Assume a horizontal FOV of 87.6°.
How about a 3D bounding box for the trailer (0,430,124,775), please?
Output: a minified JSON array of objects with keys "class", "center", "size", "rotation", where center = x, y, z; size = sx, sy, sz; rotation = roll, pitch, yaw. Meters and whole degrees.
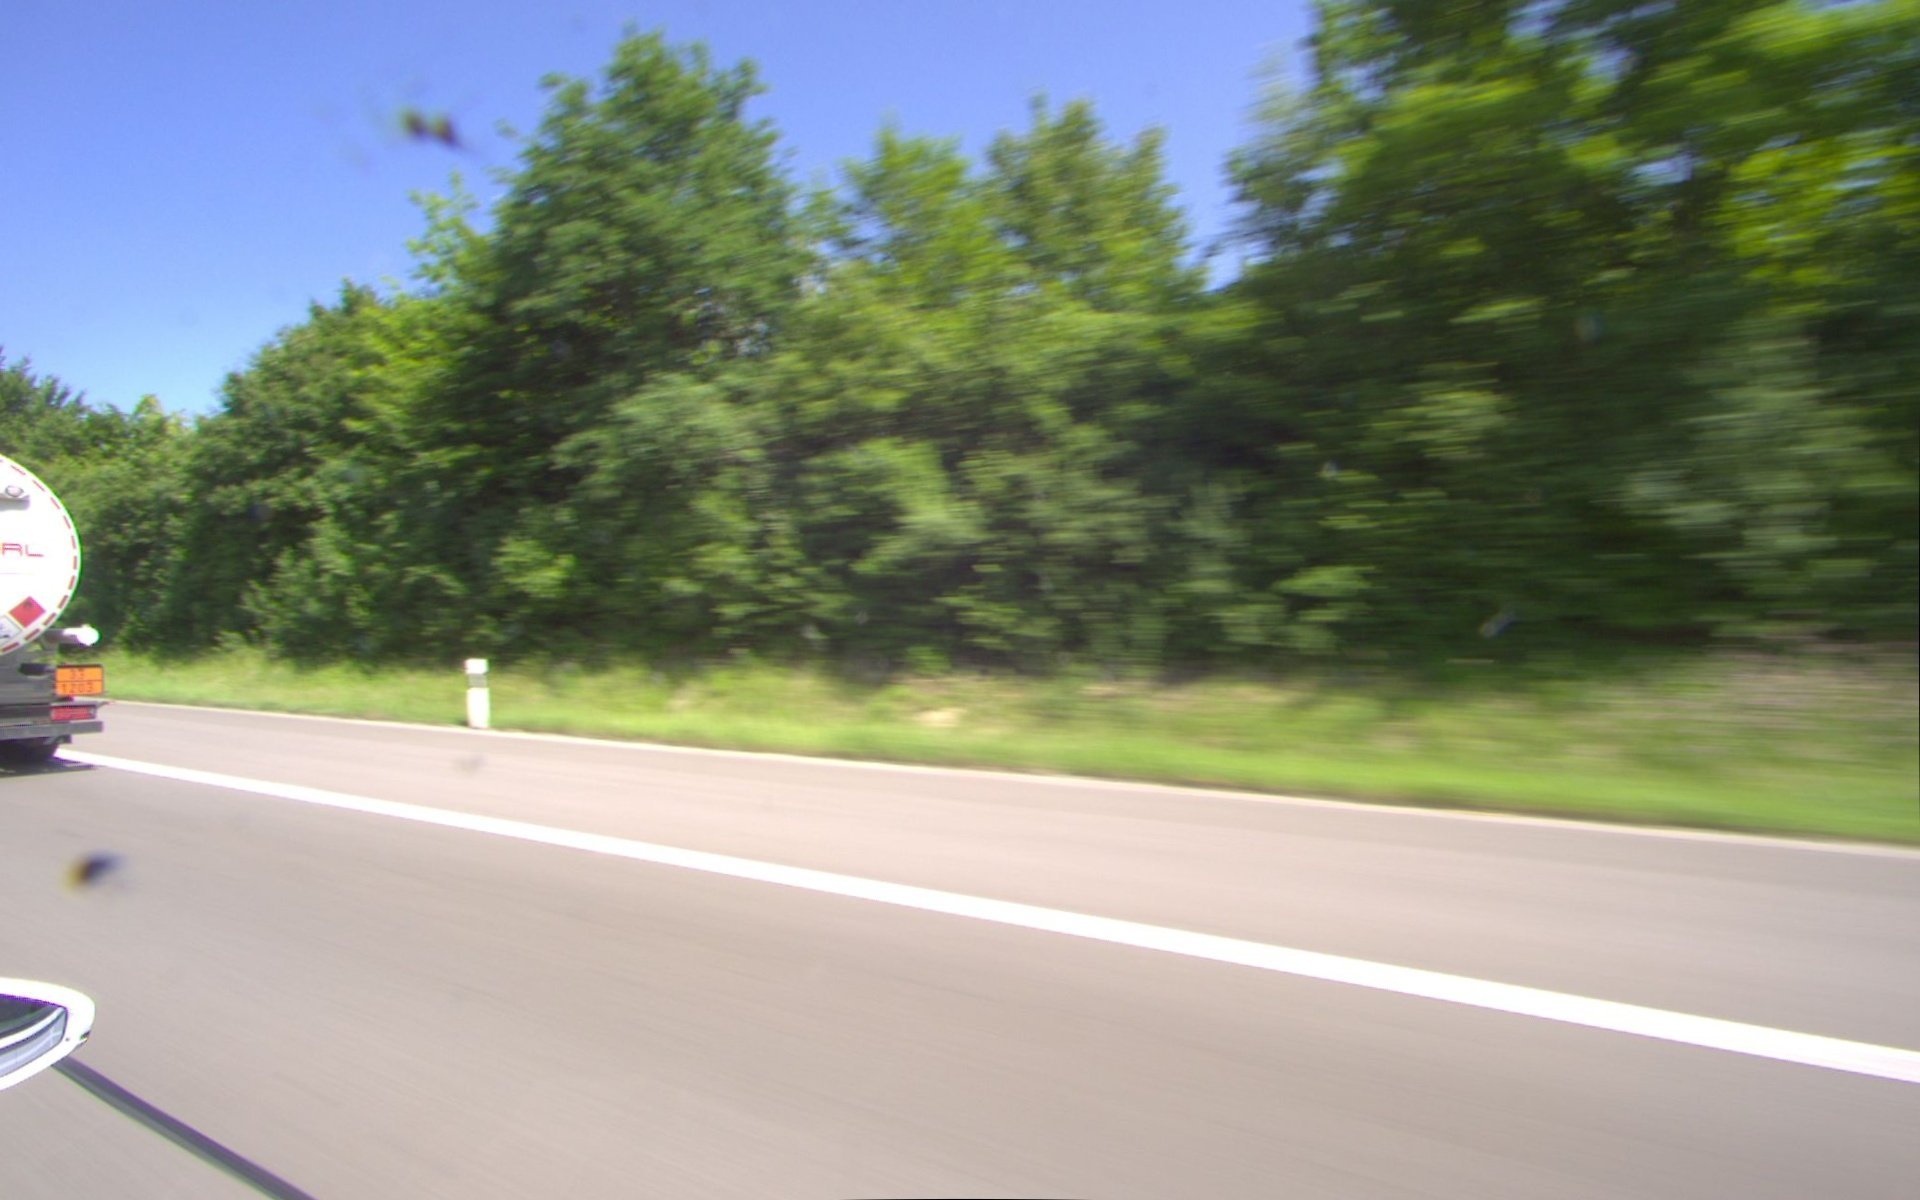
[{"class":"trailer","center":[-14.350,0.111,12.655],"size":[10.993,3.433,2.643],"rotation":[-1,-1,33]}]
